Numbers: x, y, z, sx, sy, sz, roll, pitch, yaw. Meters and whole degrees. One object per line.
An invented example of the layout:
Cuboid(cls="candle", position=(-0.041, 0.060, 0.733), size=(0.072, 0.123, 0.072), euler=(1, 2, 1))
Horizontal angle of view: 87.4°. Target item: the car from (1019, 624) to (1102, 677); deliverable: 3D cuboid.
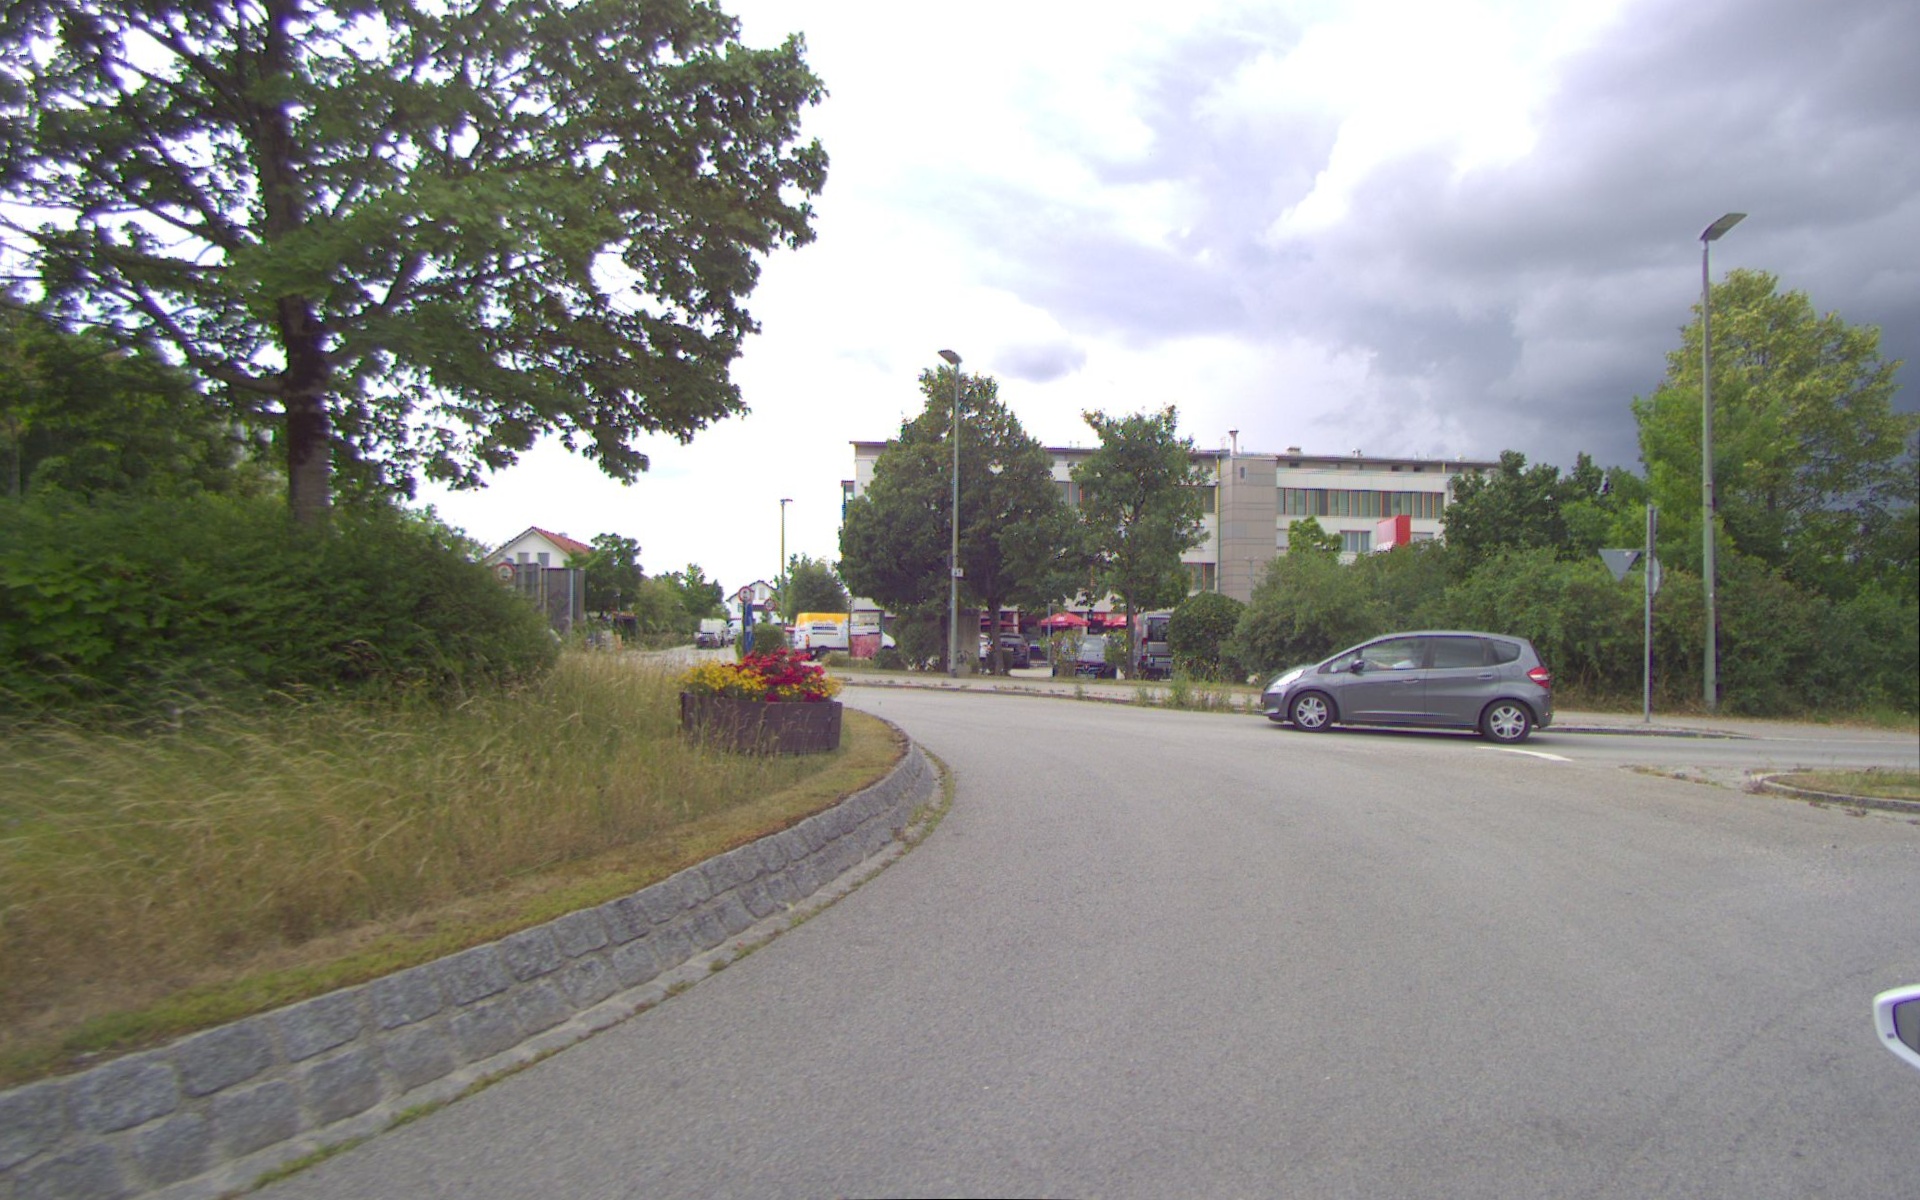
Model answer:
Cuboid(cls="car", position=(2.781, 1.321, 27.116), size=(1.707, 1.288, 4.003), euler=(0, -1, 13))

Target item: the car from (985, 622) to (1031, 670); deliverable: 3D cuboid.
Cuboid(cls="car", position=(2.036, 1.866, 41.686), size=(1.749, 1.706, 3.730), euler=(-2, 0, 4))

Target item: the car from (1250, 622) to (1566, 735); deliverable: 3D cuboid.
Cuboid(cls="car", position=(6.236, 1.063, 14.431), size=(3.920, 1.441, 1.688), euler=(0, -2, 18))

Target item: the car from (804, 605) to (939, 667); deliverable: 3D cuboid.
Cuboid(cls="car", position=(-2.844, 1.116, 31.914), size=(3.939, 1.856, 2.121), euler=(0, -2, 39))

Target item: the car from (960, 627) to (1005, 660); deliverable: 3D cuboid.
Cuboid(cls="car", position=(1.033, 2.121, 48.464), size=(1.911, 1.415, 4.514), euler=(-3, -3, -1))

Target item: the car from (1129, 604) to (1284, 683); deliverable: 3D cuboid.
Cuboid(cls="car", position=(6.877, 1.167, 27.984), size=(3.923, 2.040, 1.999), euler=(0, -1, 24))
